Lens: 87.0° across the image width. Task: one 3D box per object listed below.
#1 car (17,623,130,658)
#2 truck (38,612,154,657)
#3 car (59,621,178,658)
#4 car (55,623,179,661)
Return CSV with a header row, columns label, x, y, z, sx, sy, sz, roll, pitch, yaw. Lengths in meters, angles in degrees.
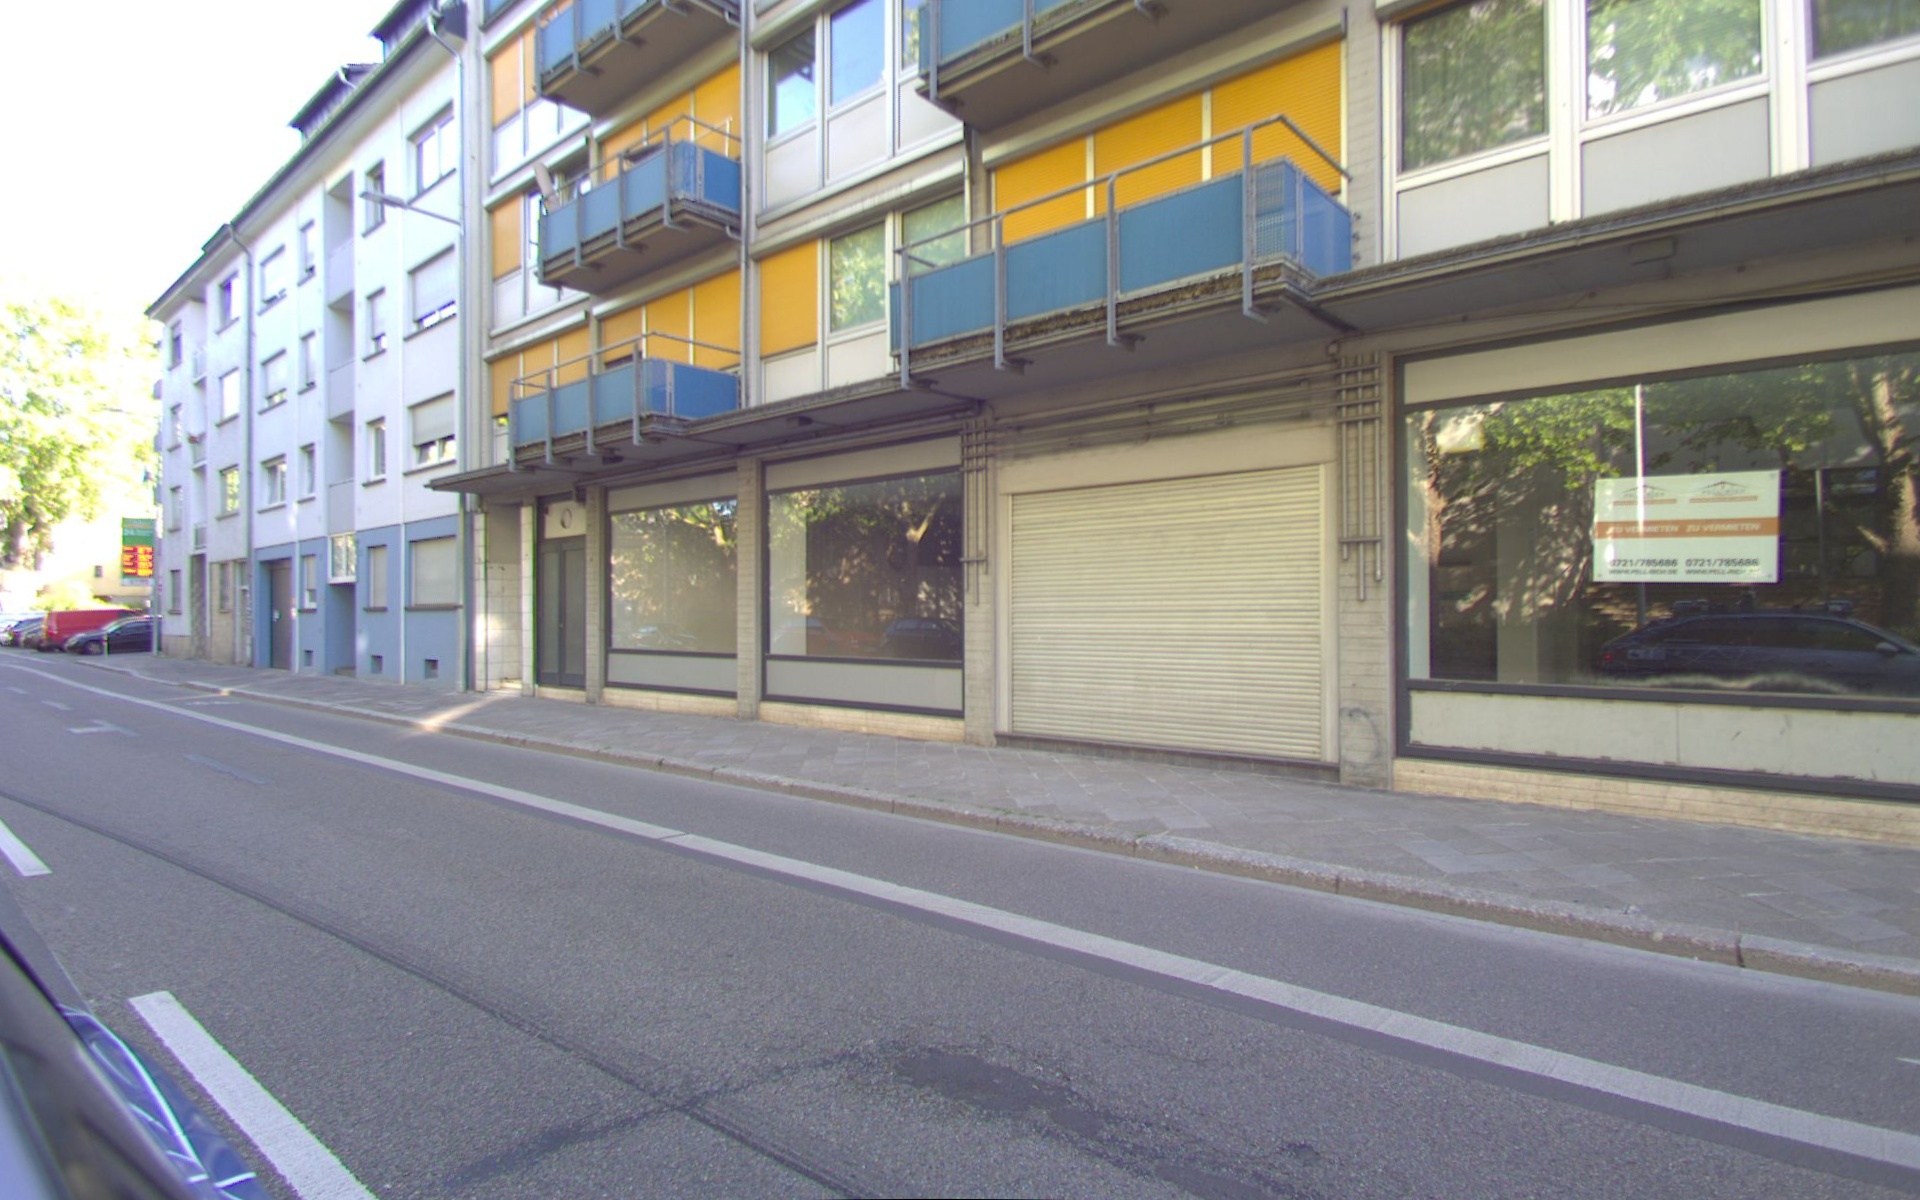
label,x,y,z,sx,sy,sz,roll,pitch,yaw
car,-42.912,1.909,49.041,1.761,1.514,3.944,-1,0,42
truck,-40.502,1.577,47.494,1.761,1.951,3.944,-1,0,42
car,-38.111,1.764,45.902,1.761,1.514,3.944,-1,0,42
car,-36.630,1.768,44.015,1.761,1.468,3.944,-1,0,42
